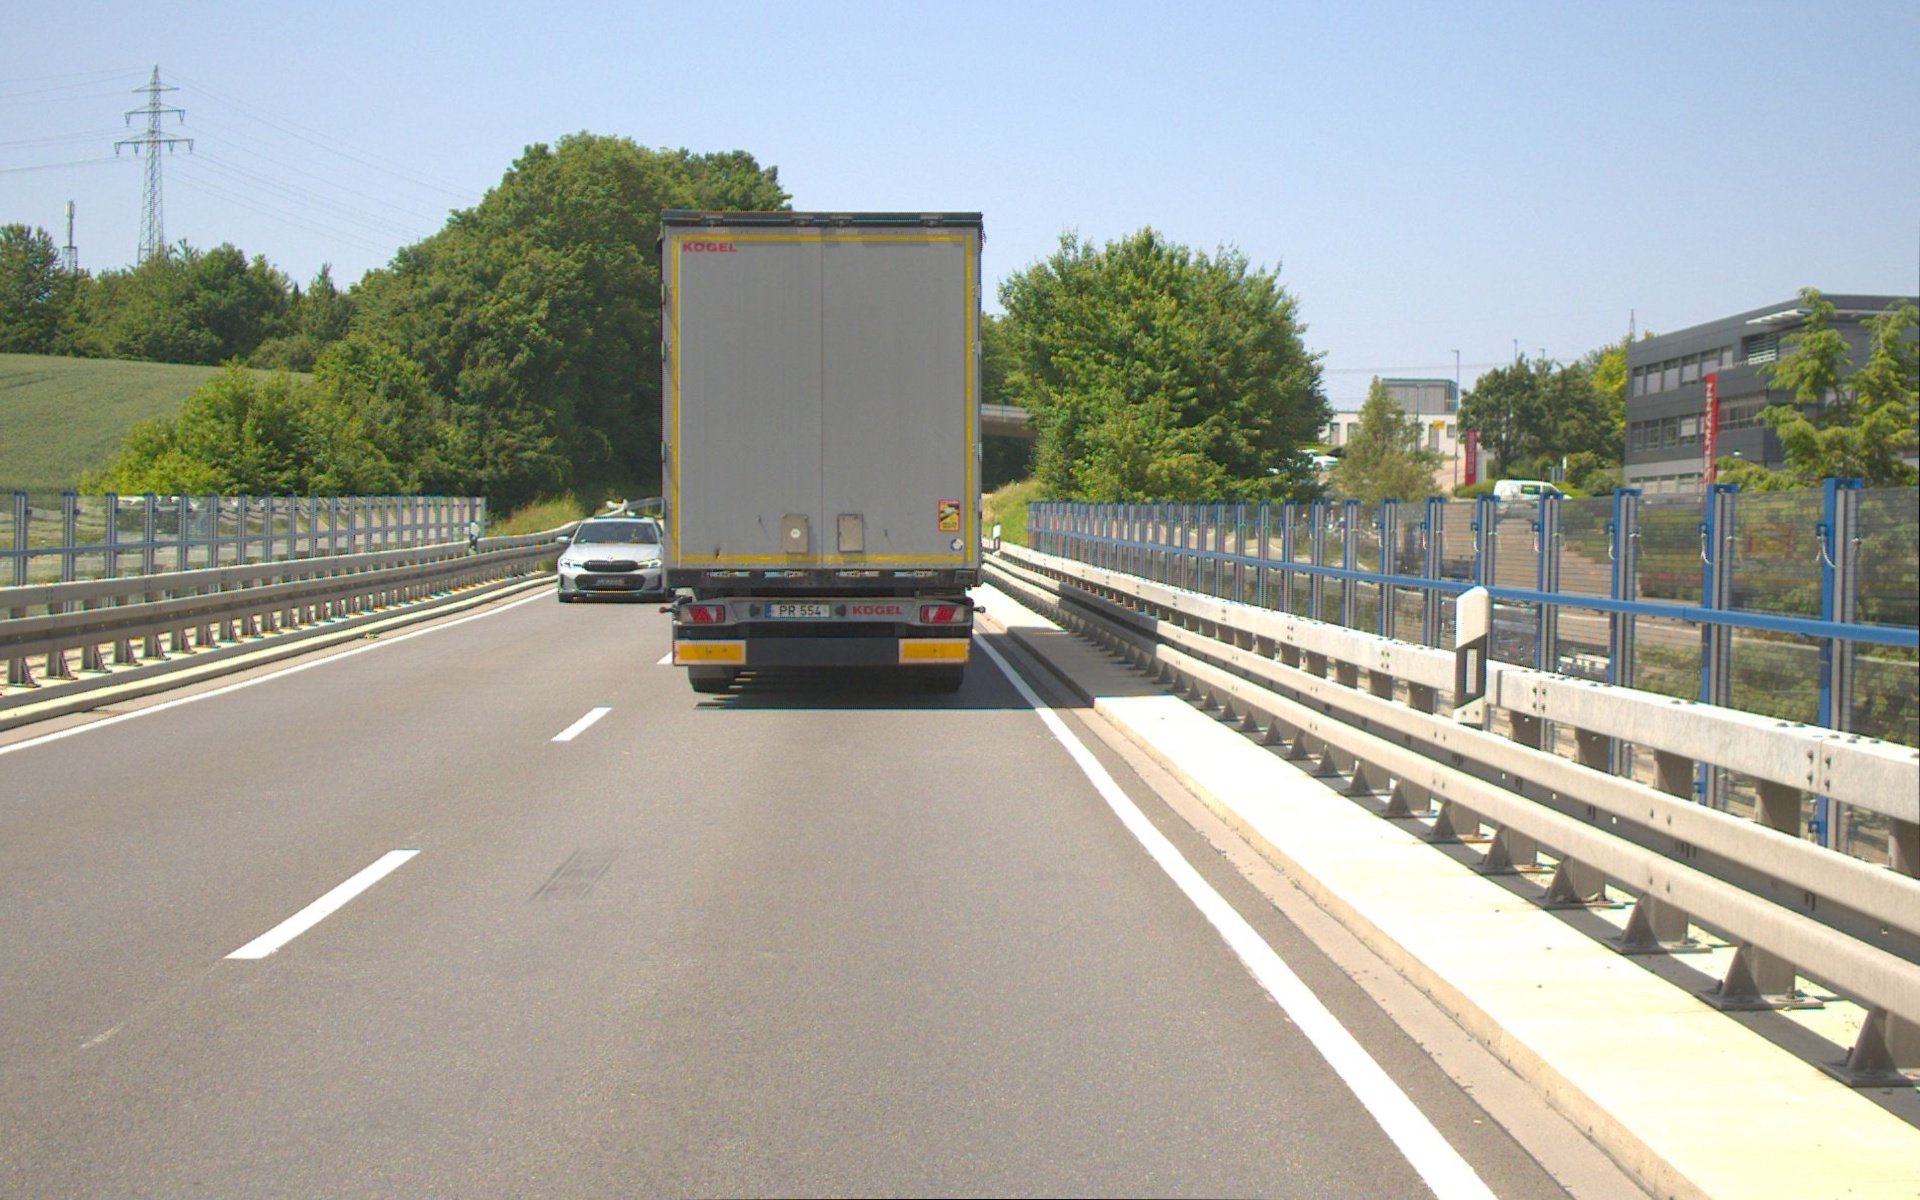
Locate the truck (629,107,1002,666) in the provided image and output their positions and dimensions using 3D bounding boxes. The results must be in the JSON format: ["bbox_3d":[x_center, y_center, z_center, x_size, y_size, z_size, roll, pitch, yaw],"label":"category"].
[{"bbox_3d":[-1.277,-1.740,31.858,2.866,4.344,9.790,-1,1,-2],"label":"truck"}]

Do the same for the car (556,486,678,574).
[{"bbox_3d":[-5.861,-1.233,59.202,1.781,1.431,4.835,-1,2,-2],"label":"car"}]
